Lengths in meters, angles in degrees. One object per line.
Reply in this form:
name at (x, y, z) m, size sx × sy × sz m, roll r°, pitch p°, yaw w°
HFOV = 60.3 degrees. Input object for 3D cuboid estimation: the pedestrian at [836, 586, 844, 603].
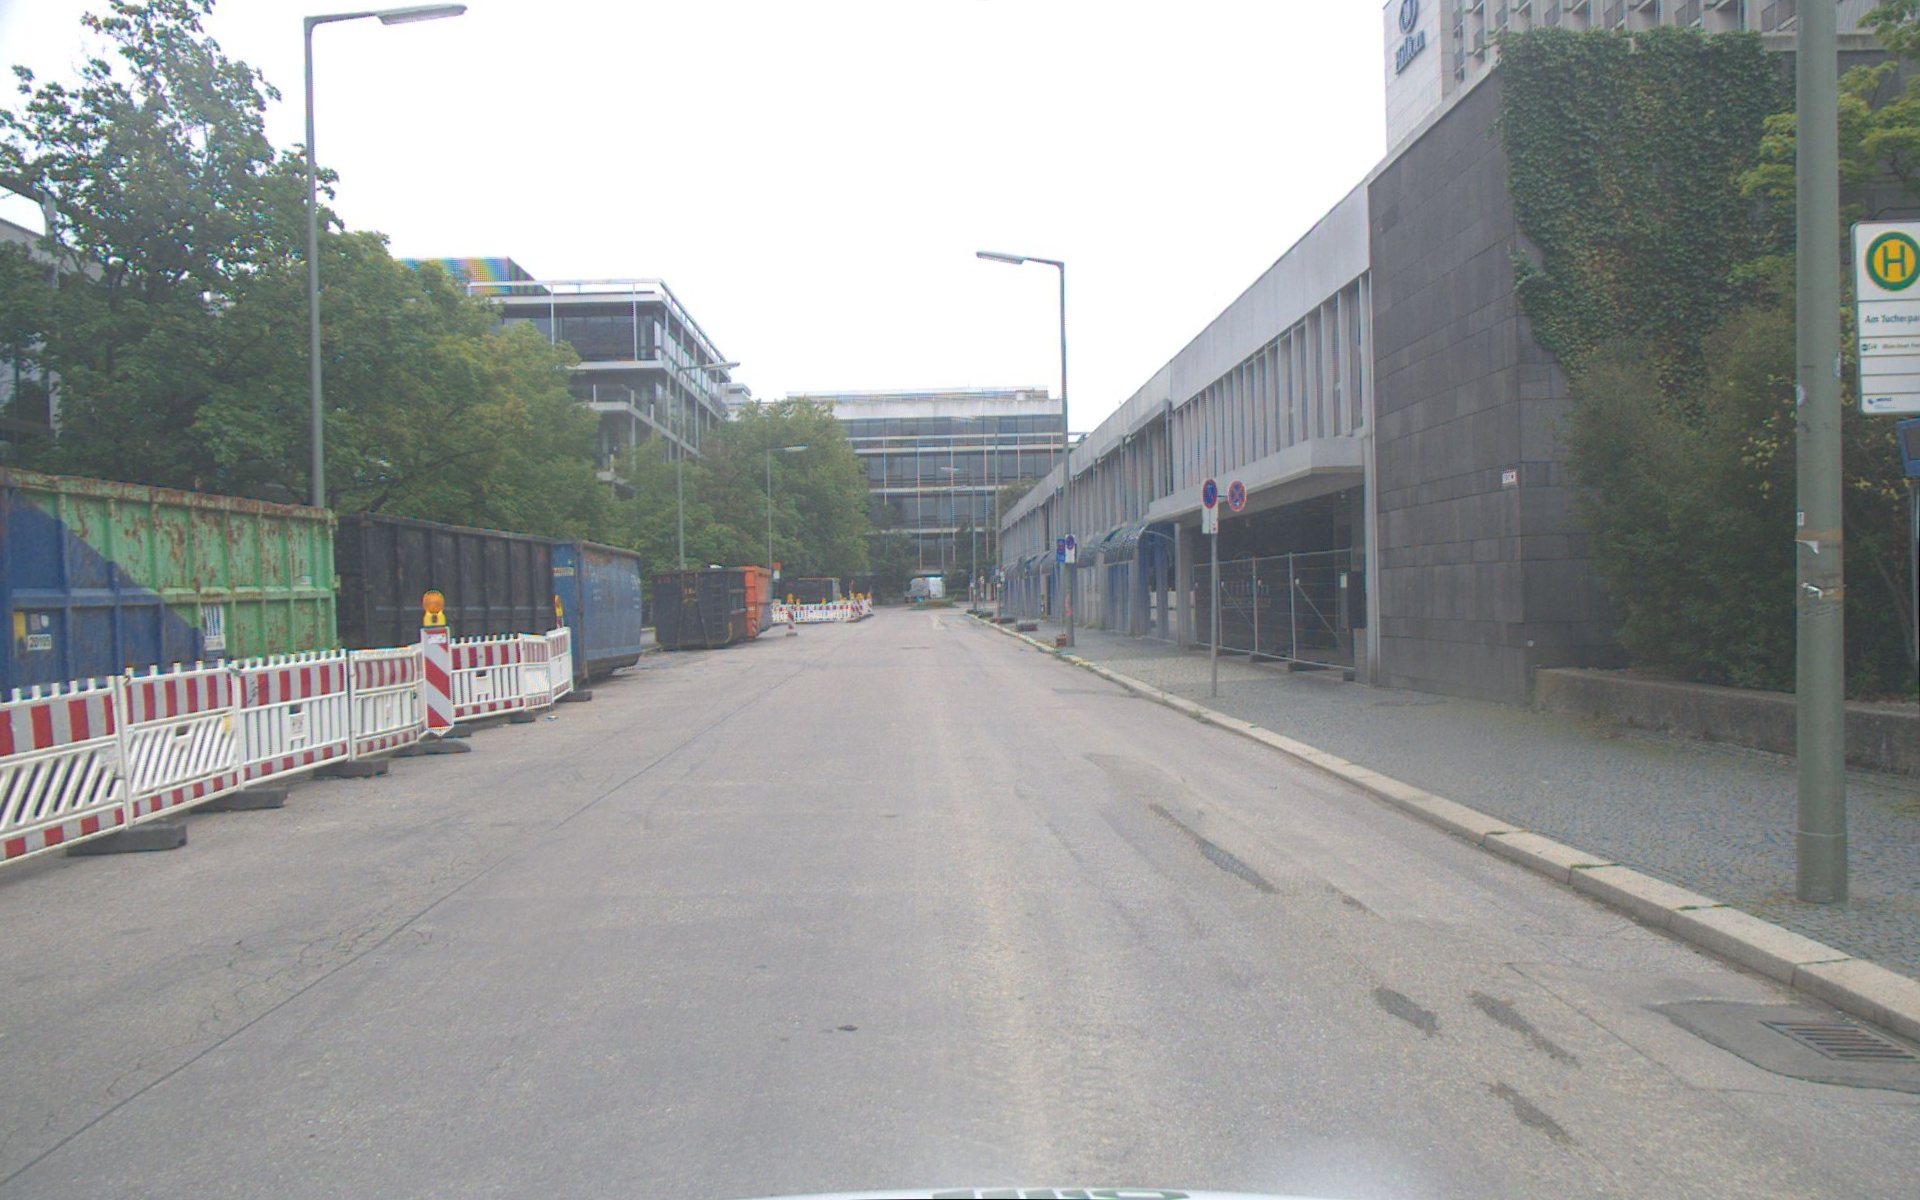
pedestrian at (-12.403, -0.536, 170.999) m, size 0.731 × 1.706 × 0.678 m, roll -1°, pitch 0°, yaw -21°

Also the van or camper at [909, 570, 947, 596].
van or camper at (-3.355, -1.769, 172.314) m, size 2.060 × 2.535 × 5.023 m, roll -1°, pitch 0°, yaw -27°
